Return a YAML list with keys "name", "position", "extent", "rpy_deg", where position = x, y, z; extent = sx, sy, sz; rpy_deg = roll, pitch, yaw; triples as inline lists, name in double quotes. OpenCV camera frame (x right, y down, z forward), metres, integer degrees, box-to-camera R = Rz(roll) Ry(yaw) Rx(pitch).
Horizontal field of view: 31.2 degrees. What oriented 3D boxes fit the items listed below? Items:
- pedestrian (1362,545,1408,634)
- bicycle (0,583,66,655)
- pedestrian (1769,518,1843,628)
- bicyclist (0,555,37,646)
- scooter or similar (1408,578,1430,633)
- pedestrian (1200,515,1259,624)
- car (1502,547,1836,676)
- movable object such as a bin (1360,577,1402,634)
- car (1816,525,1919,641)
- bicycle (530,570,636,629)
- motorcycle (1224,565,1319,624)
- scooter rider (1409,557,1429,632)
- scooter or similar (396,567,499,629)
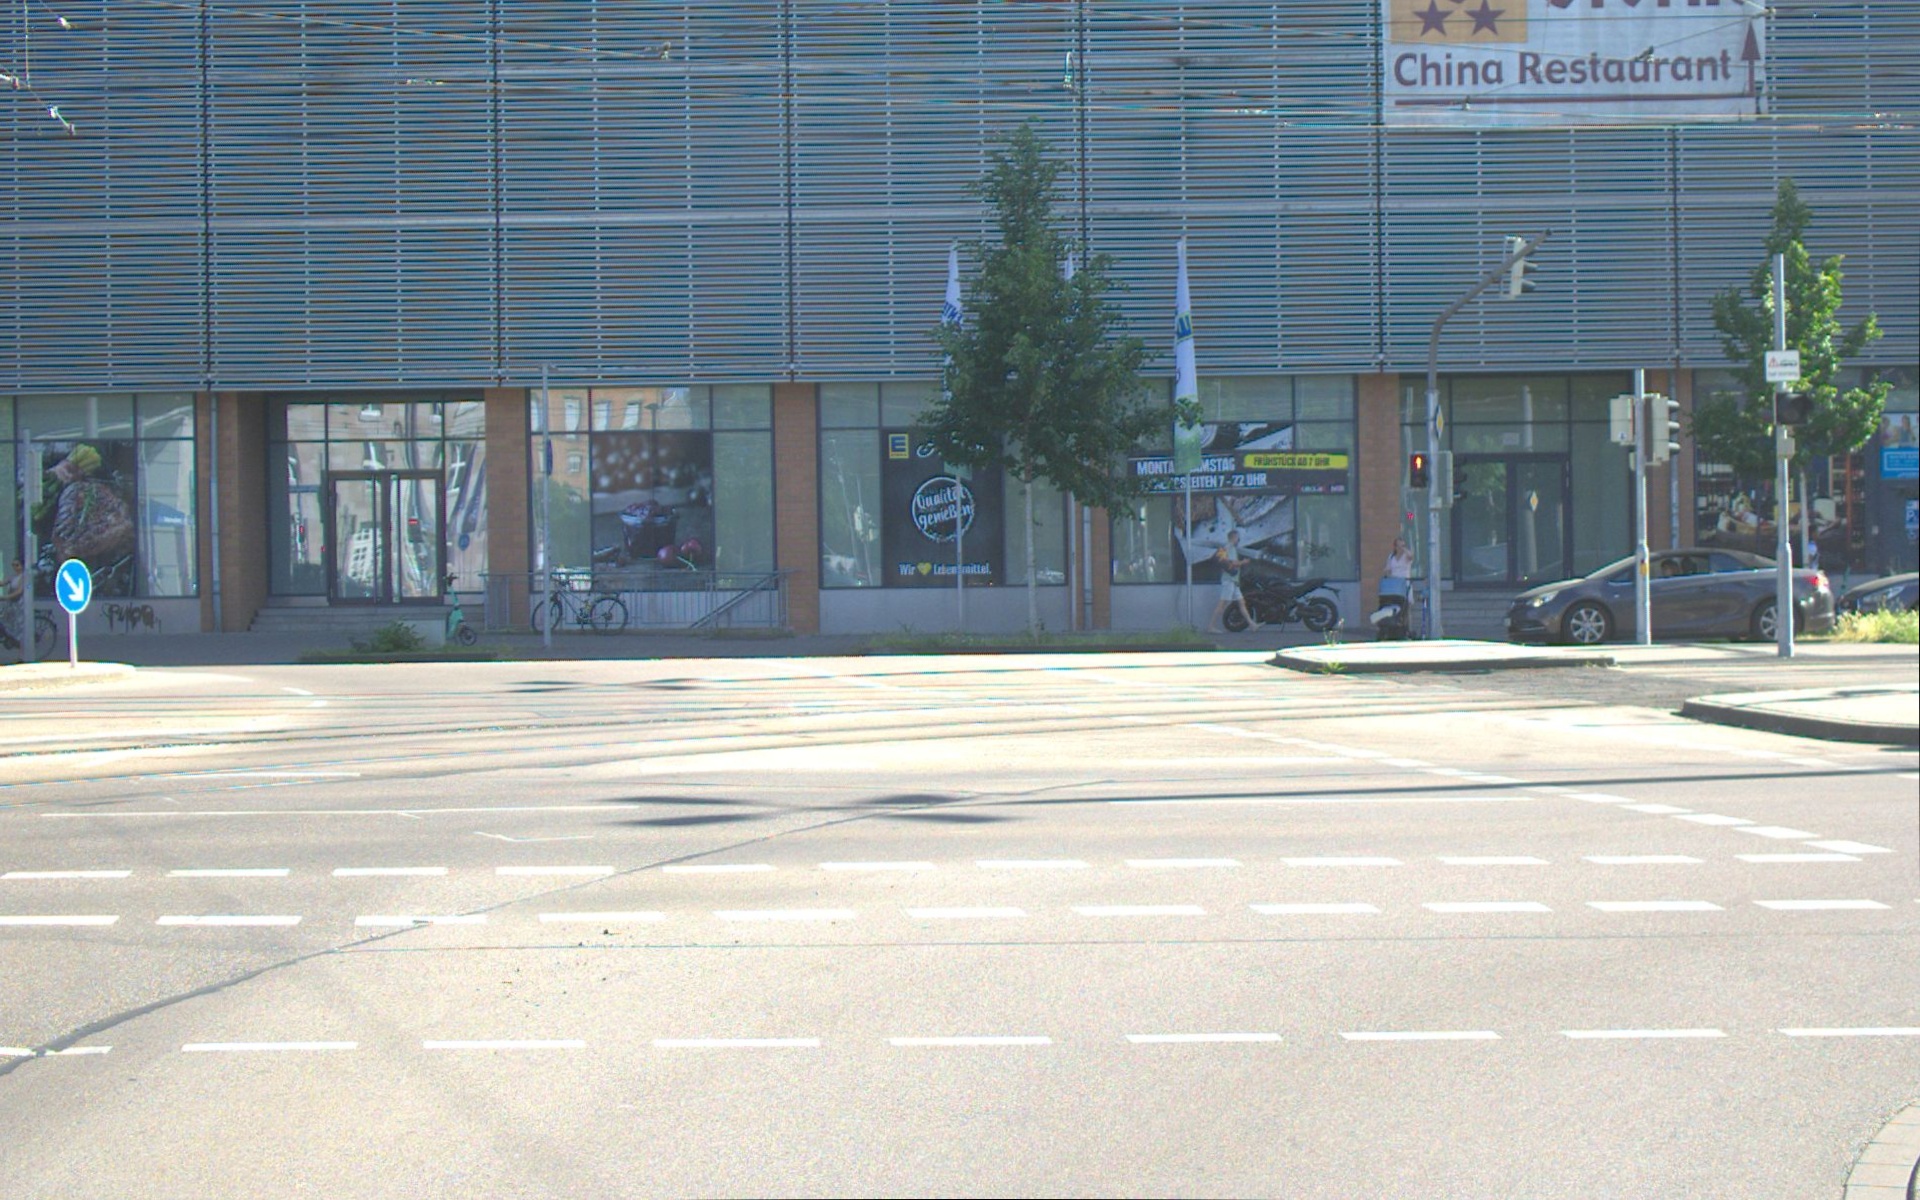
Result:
- name: "pedestrian"
  position: [6.834, -0.173, 55.270]
  extent: [0.655, 1.409, 0.849]
  rpy_deg: [1, 0, 10]
- name: "bicycle"
  position: [-15.242, 0.316, 54.862]
  extent: [0.568, 1.082, 1.859]
  rpy_deg: [1, 3, 43]
- name: "pedestrian"
  position: [14.412, -0.468, 58.599]
  extent: [1.012, 1.822, 1.035]
  rpy_deg: [-2, 1, 3]
- name: "bicyclist"
  position: [-15.276, 0.007, 54.782]
  extent: [0.675, 1.422, 0.847]
  rpy_deg: [1, 3, 43]
- name: "scooter or similar"
  position: [7.354, 0.079, 55.092]
  extent: [0.295, 0.870, 1.003]
  rpy_deg: [1, 0, 10]
- name: "pedestrian"
  position: [4.685, -0.516, 59.653]
  extent: [0.950, 1.822, 0.845]
  rpy_deg: [-2, -3, 5]
- name: "car"
  position: [10.073, 0.156, 49.036]
  extent: [4.289, 1.578, 1.841]
  rpy_deg: [3, 0, -1]
- name: "movable object such as a bin"
  position: [6.715, 0.083, 54.809]
  extent: [0.613, 0.901, 0.968]
  rpy_deg: [1, 0, 10]
- name: "car"
  position: [13.757, -0.140, 45.847]
  extent: [4.146, 1.464, 1.841]
  rpy_deg: [3, 0, -1]
- name: "bicycle"
  position: [-6.646, -0.012, 60.544]
  extent: [1.815, 0.986, 0.558]
  rpy_deg: [-1, 2, -10]
- name: "motorcycle"
  position: [5.497, -0.098, 60.636]
  extent: [1.640, 1.001, 0.446]
  rpy_deg: [1, 1, 6]
- name: "scooter rider"
  position: [7.347, -0.083, 55.030]
  extent: [0.288, 1.196, 0.385]
  rpy_deg: [1, 0, 10]
- name: "scooter or similar"
  position: [-9.075, -0.041, 60.926]
  extent: [1.792, 1.062, 0.613]
  rpy_deg: [0, 2, -8]
